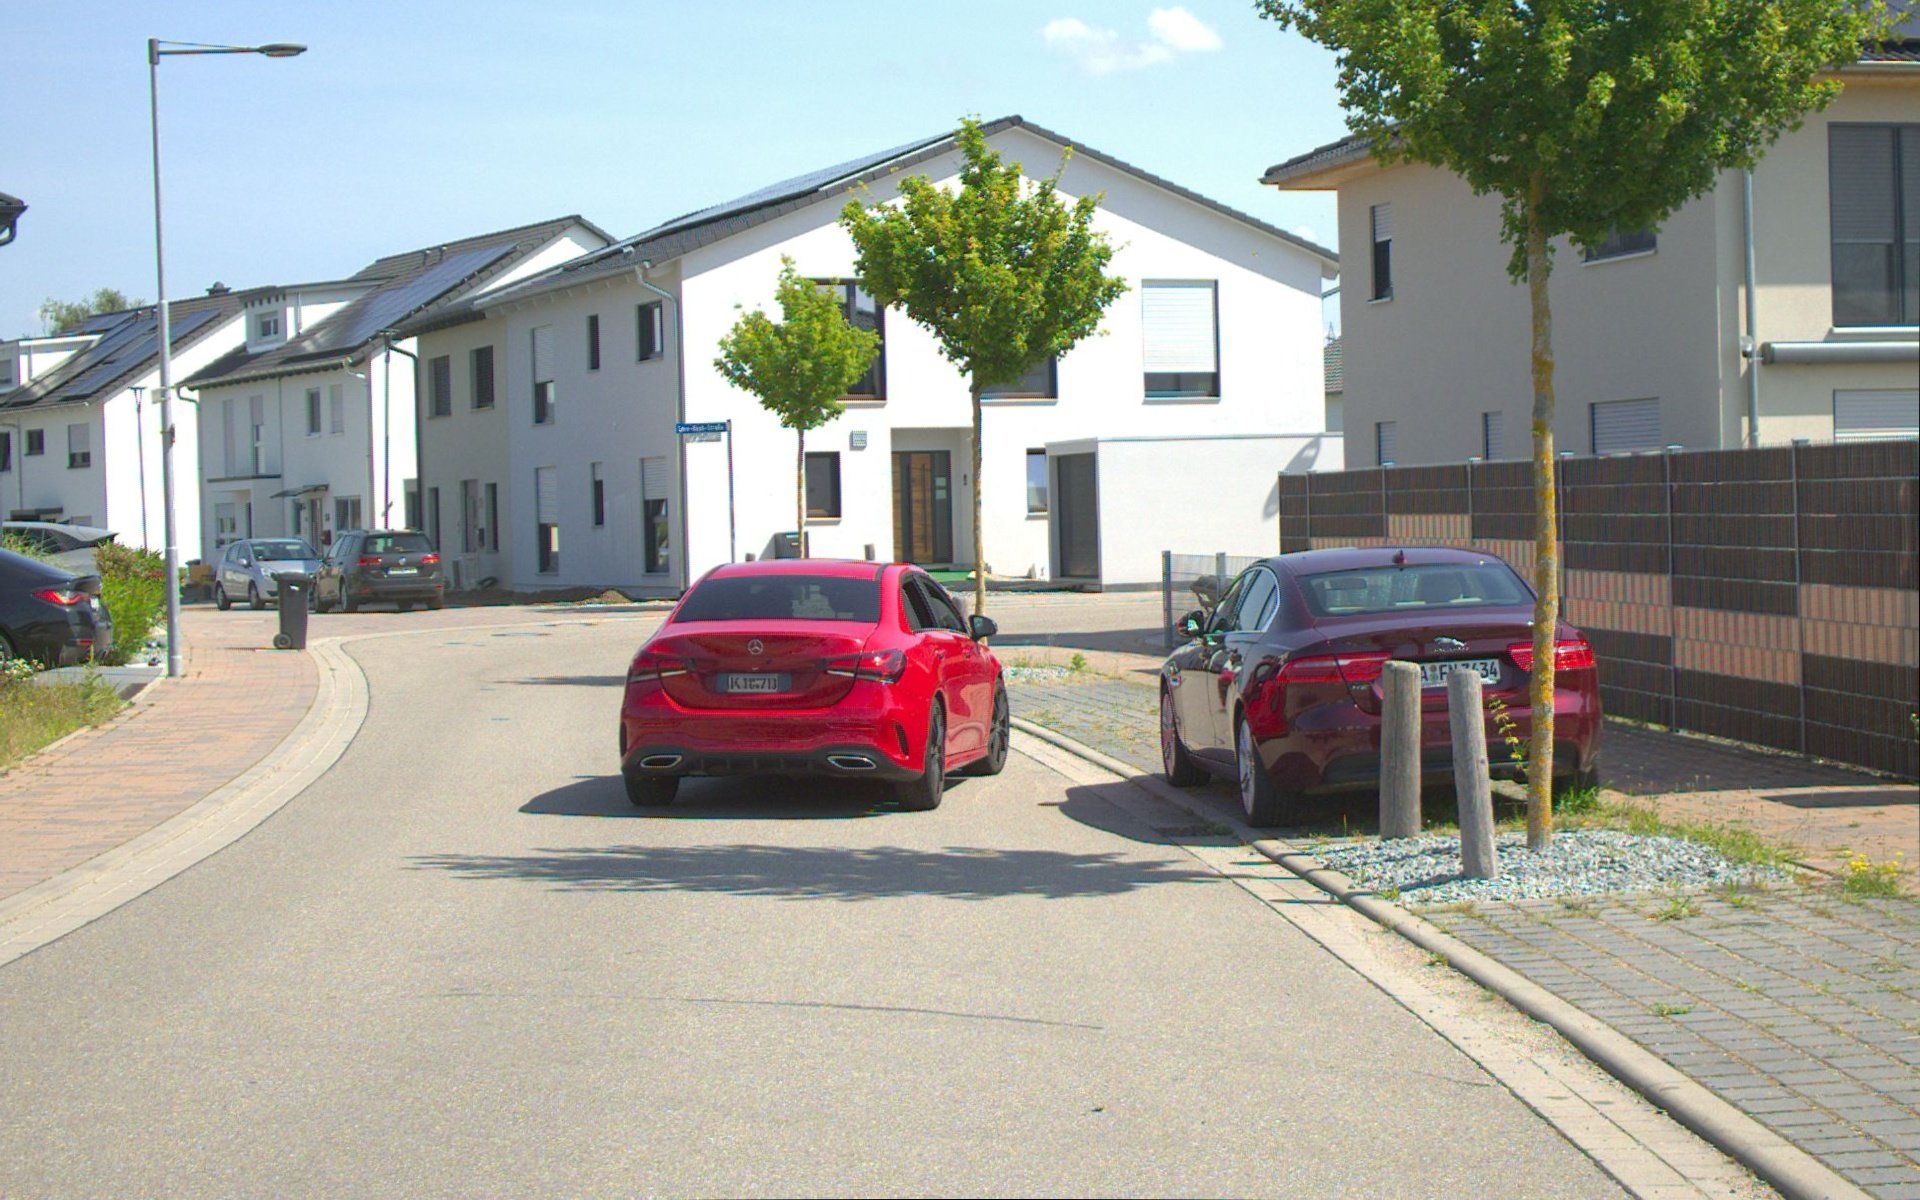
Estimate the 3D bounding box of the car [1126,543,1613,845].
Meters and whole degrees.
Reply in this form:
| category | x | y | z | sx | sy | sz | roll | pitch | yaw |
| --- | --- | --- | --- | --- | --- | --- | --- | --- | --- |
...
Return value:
| category | x | y | z | sx | sy | sz | roll | pitch | yaw |
| --- | --- | --- | --- | --- | --- | --- | --- | --- | --- |
| car | 2.136 | 0.424 | 19.227 | 1.754 | 1.358 | 4.576 | -3 | 2 | -5 |

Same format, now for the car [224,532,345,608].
| category | x | y | z | sx | sy | sz | roll | pitch | yaw |
| --- | --- | --- | --- | --- | --- | --- | --- | --- | --- |
| car | -13.907 | -0.635 | 70.633 | 1.676 | 1.459 | 3.945 | -2 | 2 | -22 |

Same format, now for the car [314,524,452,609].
| category | x | y | z | sx | sy | sz | roll | pitch | yaw |
| --- | --- | --- | --- | --- | --- | --- | --- | --- | --- |
| car | -10.321 | -0.607 | 61.300 | 1.726 | 1.418 | 4.001 | -2 | 2 | -19 |

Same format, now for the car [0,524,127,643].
| category | x | y | z | sx | sy | sz | roll | pitch | yaw |
| --- | --- | --- | --- | --- | --- | --- | --- | --- | --- |
| car | -12.826 | -0.206 | 43.972 | 3.986 | 1.481 | 1.755 | -1 | 1 | -6 |

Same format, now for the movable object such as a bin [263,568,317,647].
| category | x | y | z | sx | sy | sz | roll | pitch | yaw |
| --- | --- | --- | --- | --- | --- | --- | --- | --- | --- |
| movable object such as a bin | -8.103 | 0.090 | 41.590 | 0.534 | 0.932 | 0.526 | 1 | 1 | 1 |

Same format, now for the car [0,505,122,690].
| category | x | y | z | sx | sy | sz | roll | pitch | yaw |
| --- | --- | --- | --- | --- | --- | --- | --- | --- | --- |
| car | -9.937 | -0.070 | 31.151 | 4.374 | 1.626 | 1.771 | 1 | 1 | -8 |

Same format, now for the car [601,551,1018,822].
| category | x | y | z | sx | sy | sz | roll | pitch | yaw |
| --- | --- | --- | --- | --- | --- | --- | --- | --- | --- |
| car | -0.791 | 0.436 | 20.990 | 1.763 | 1.433 | 4.518 | 0 | 1 | 8 |
